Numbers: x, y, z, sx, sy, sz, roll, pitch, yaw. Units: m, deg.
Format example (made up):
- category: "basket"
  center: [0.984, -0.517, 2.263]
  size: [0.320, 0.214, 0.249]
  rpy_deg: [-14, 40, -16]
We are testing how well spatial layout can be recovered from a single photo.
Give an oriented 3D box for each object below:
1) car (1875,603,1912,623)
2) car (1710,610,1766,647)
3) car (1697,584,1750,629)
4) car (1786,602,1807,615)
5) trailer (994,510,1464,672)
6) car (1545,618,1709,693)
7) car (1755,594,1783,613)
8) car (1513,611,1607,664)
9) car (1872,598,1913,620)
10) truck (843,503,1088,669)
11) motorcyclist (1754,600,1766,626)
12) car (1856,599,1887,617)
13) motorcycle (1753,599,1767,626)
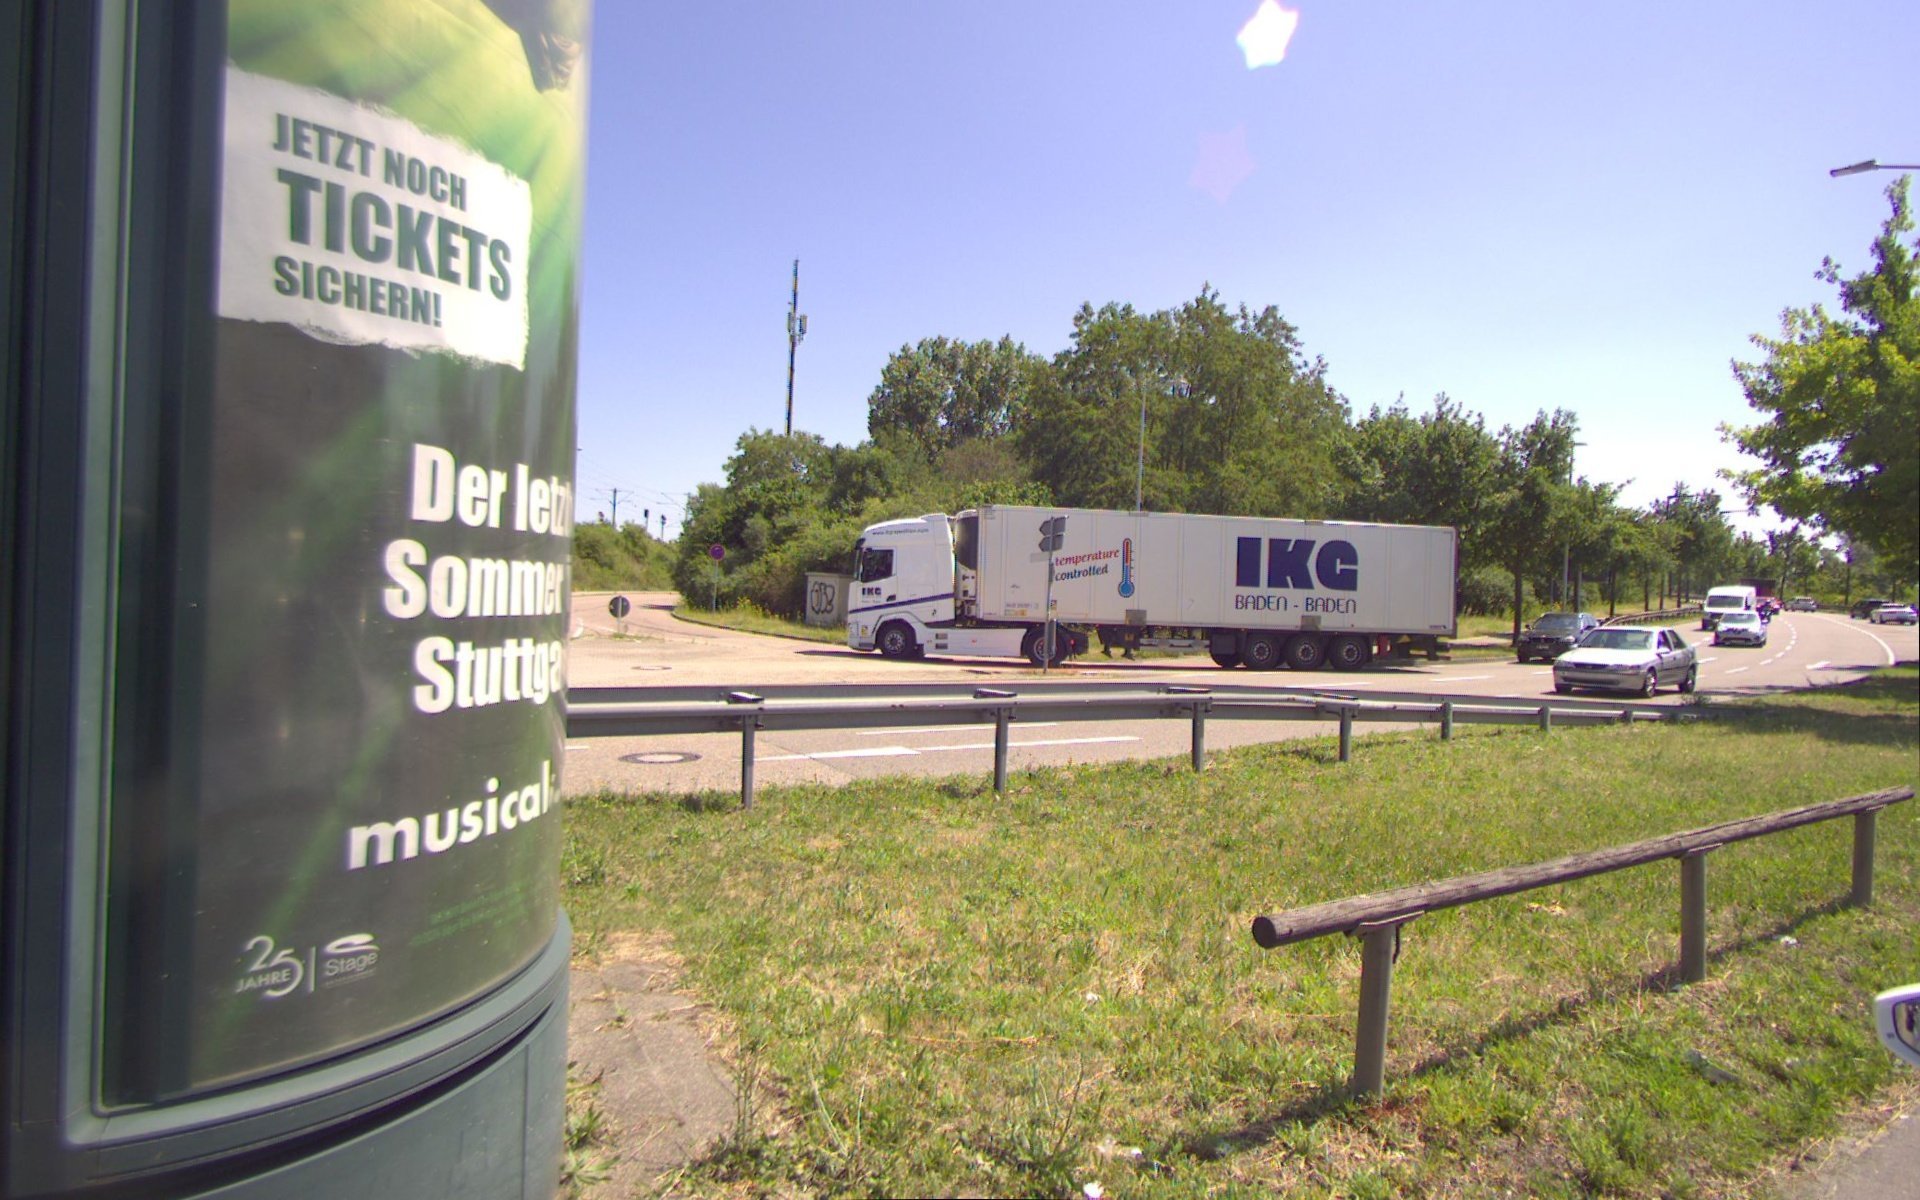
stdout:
- category: "car"
  center: [65.605, 0.943, 70.648]
  size: [1.438, 1.331, 3.625]
  rpy_deg: [2, 0, 36]
- category: "car"
  center: [35.029, 1.287, 45.192]
  size: [1.617, 1.588, 4.049]
  rpy_deg: [0, -1, 43]
- category: "car"
  center: [45.191, 0.359, 59.398]
  size: [2.070, 2.534, 5.778]
  rpy_deg: [0, 0, 41]
- category: "car"
  center: [82.212, 0.864, 98.716]
  size: [1.304, 1.154, 2.985]
  rpy_deg: [2, 0, 35]
- category: "trailer"
  center: [7.373, -0.170, 27.943]
  size: [12.475, 4.104, 3.016]
  rpy_deg: [1, 1, -10]
- category: "car"
  center: [14.056, 1.133, 21.081]
  size: [4.184, 1.421, 1.622]
  rpy_deg: [2, -1, -38]
- category: "car"
  center: [70.541, 0.314, 87.575]
  size: [1.809, 1.456, 4.504]
  rpy_deg: [-1, -2, 41]
- category: "car"
  center: [20.558, 1.284, 34.341]
  size: [4.440, 1.654, 1.475]
  rpy_deg: [2, 0, -42]
- category: "car"
  center: [65.574, 0.639, 70.680]
  size: [1.643, 1.484, 3.568]
  rpy_deg: [2, 0, 36]
- category: "truck"
  center: [0.234, -0.389, 27.170]
  size: [6.142, 4.075, 2.553]
  rpy_deg: [2, 0, 10]
- category: "motorcyclist"
  center: [52.713, 0.866, 66.185]
  size: [0.580, 1.648, 0.560]
  rpy_deg: [2, 0, 41]
- category: "car"
  center: [72.221, 0.657, 79.636]
  size: [1.399, 1.331, 3.325]
  rpy_deg: [2, 0, 36]
- category: "motorcycle"
  center: [52.721, 0.841, 66.192]
  size: [0.590, 1.700, 2.414]
  rpy_deg: [2, 0, 40]
